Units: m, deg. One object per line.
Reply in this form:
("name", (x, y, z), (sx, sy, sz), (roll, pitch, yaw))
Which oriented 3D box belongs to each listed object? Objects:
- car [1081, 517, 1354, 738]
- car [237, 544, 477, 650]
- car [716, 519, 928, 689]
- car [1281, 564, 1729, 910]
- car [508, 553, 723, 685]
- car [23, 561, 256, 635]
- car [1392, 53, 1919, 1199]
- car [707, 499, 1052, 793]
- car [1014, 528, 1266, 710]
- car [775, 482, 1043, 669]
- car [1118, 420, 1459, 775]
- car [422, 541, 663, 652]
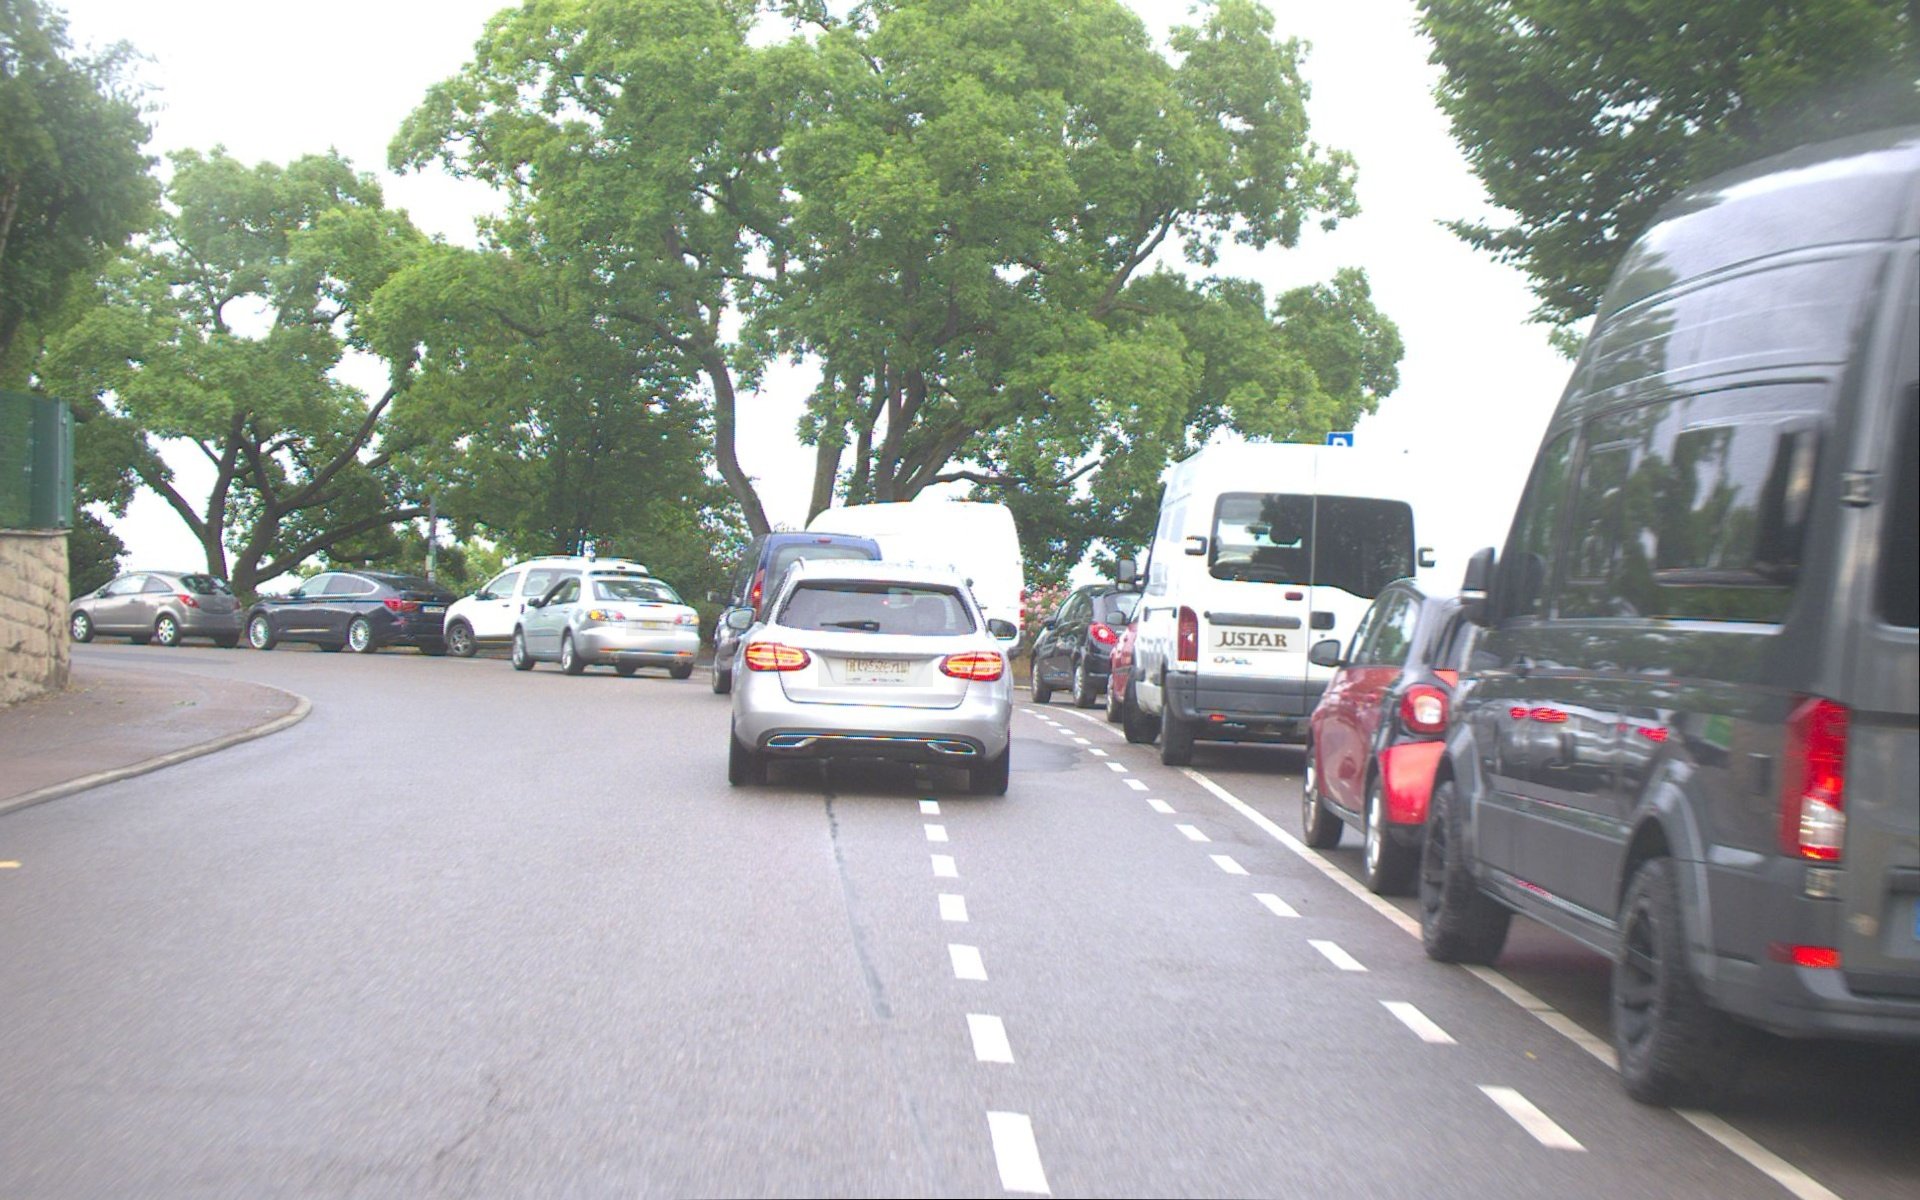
("car", (2.486, 0.223, 34.374), (2.064, 1.953, 4.497), (3, 1, -3))
("car", (-11.316, -0.073, 64.334), (4.667, 1.692, 1.965), (4, 1, 44))
("car", (-1.594, 0.048, 38.206), (1.993, 1.702, 4.001), (3, 0, -7))
("car", (2.723, 0.623, 17.902), (1.583, 1.522, 3.586), (3, 1, -2))
("car", (-4.884, 0.247, 48.281), (1.993, 1.702, 4.001), (3, 0, -20))
("car", (-16.235, -0.066, 67.962), (4.490, 1.397, 1.967), (0, 1, 34))
("car", (3.051, 0.080, 11.539), (2.124, 2.877, 5.770), (3, 1, -2))
("car", (-0.545, 0.251, 22.941), (2.025, 1.702, 4.216), (2, 1, -2))
("car", (2.079, 0.177, 41.163), (2.063, 1.953, 4.498), (3, 1, -8))
("car", (-0.813, -0.396, 50.583), (2.125, 2.518, 4.498), (3, 1, -26))
("car", (2.515, -0.048, 27.531), (2.064, 2.486, 4.760), (3, 1, -1))
("car", (-7.411, -0.079, 60.714), (1.965, 1.692, 4.495), (3, 1, -41))
